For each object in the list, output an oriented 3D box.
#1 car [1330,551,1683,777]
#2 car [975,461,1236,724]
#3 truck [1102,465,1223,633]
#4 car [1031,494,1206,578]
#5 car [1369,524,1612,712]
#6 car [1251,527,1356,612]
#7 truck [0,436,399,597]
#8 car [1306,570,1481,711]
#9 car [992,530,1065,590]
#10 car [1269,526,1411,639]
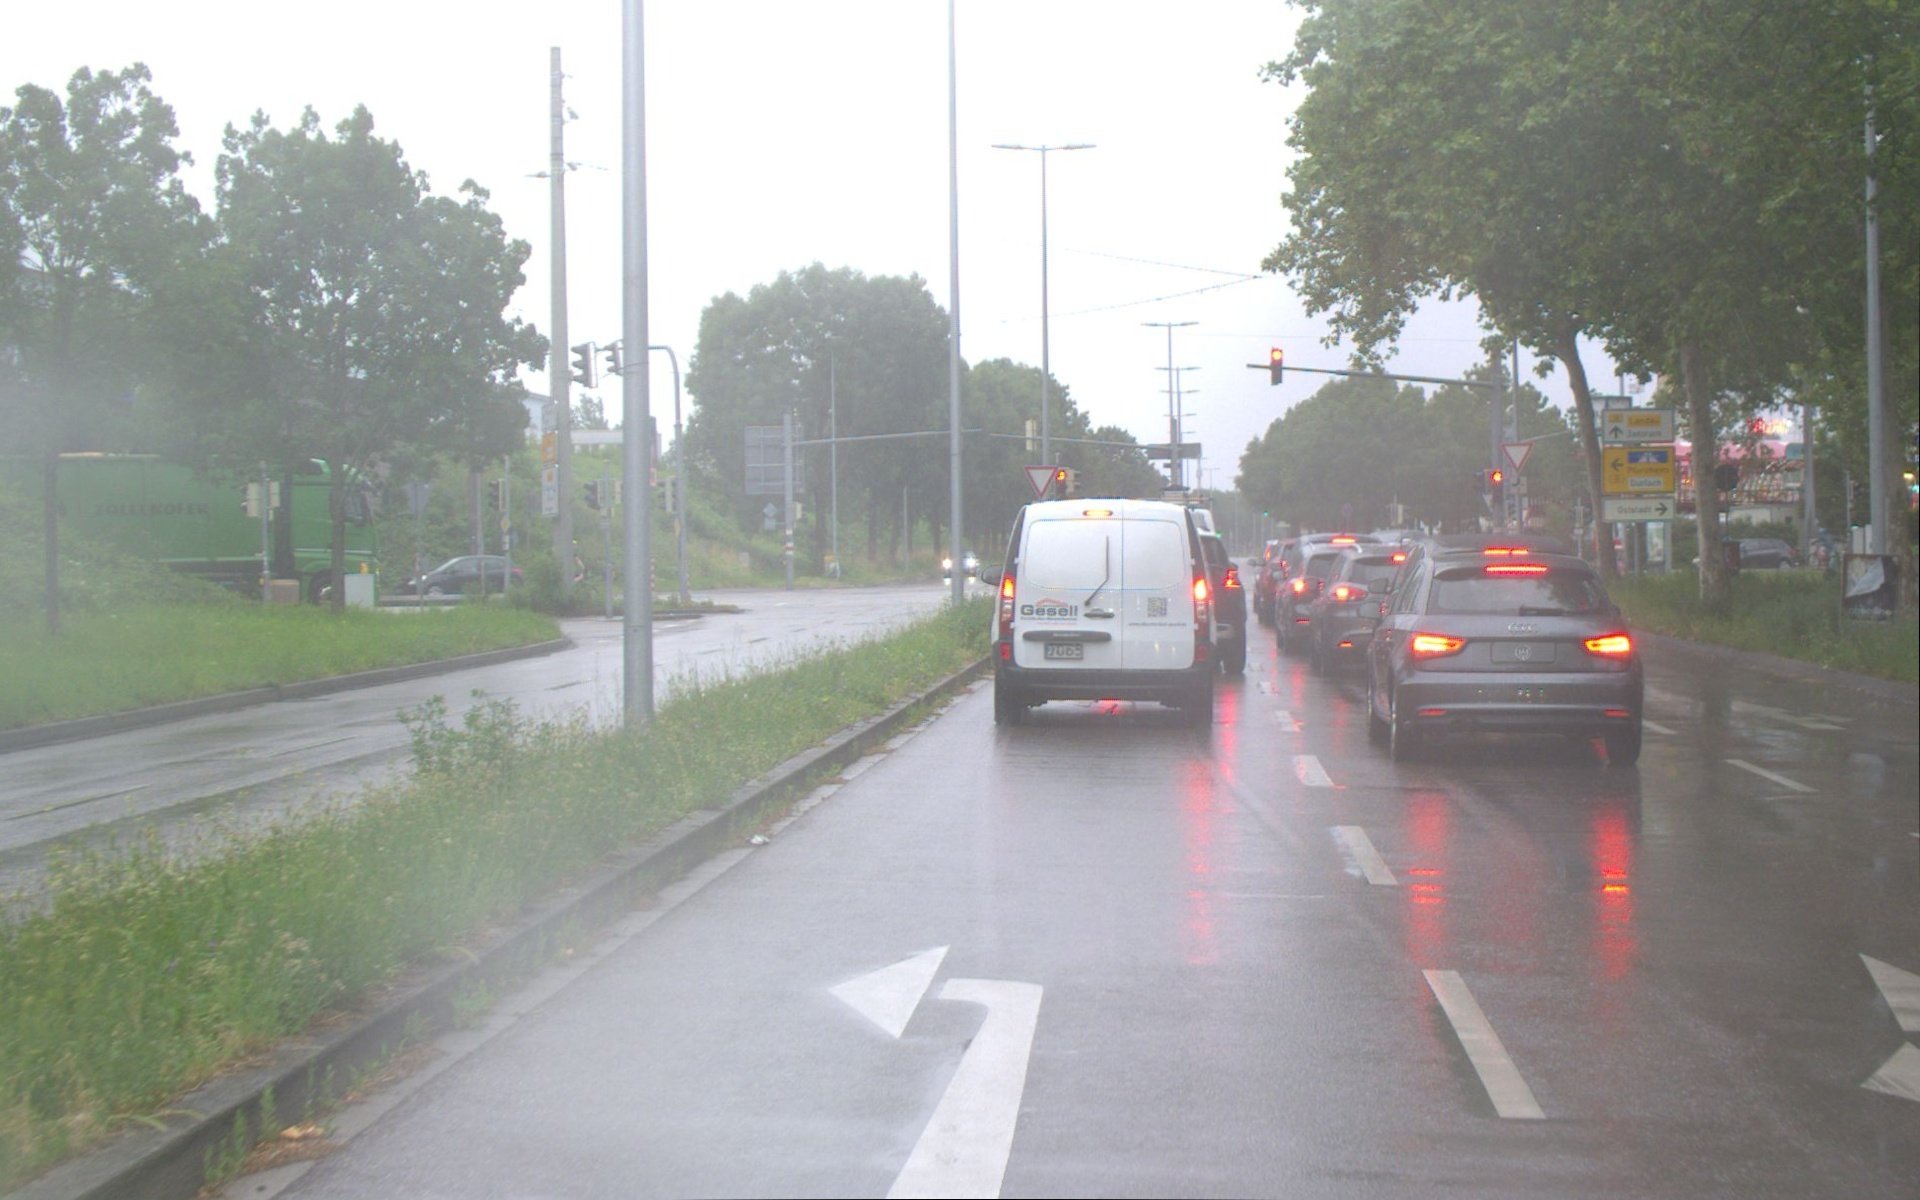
[{"bbox_3d":[3.774,0.389,24.415,1.993,1.447,4.000,1,1,2],"label":"car"},{"bbox_3d":[1.199,-0.046,28.482,1.994,2.007,4.000,0,0,2],"label":"car"},{"bbox_3d":[3.066,-0.778,52.750,1.756,2.458,4.000,0,1,2],"label":"truck"},{"bbox_3d":[5.519,-2.197,119.374,6.000,2.734,2.000,1,-1,-32],"label":"car"},{"bbox_3d":[4.720,0.110,31.056,1.708,1.544,4.000,0,2,2],"label":"car"},{"bbox_3d":[6.072,-0.563,61.058,1.711,1.440,4.000,0,1,4],"label":"car"},{"bbox_3d":[-18.206,-1.853,79.389,10.108,3.440,2.658,1,-1,-33],"label":"truck"},{"bbox_3d":[4.813,0.411,38.573,1.711,1.440,4.000,0,1,4],"label":"car"},{"bbox_3d":[1.874,-1.097,92.999,1.716,1.508,3.614,-2,1,5],"label":"car"},{"bbox_3d":[5.051,-0.268,46.103,1.711,1.440,4.000,0,1,4],"label":"car"}]
